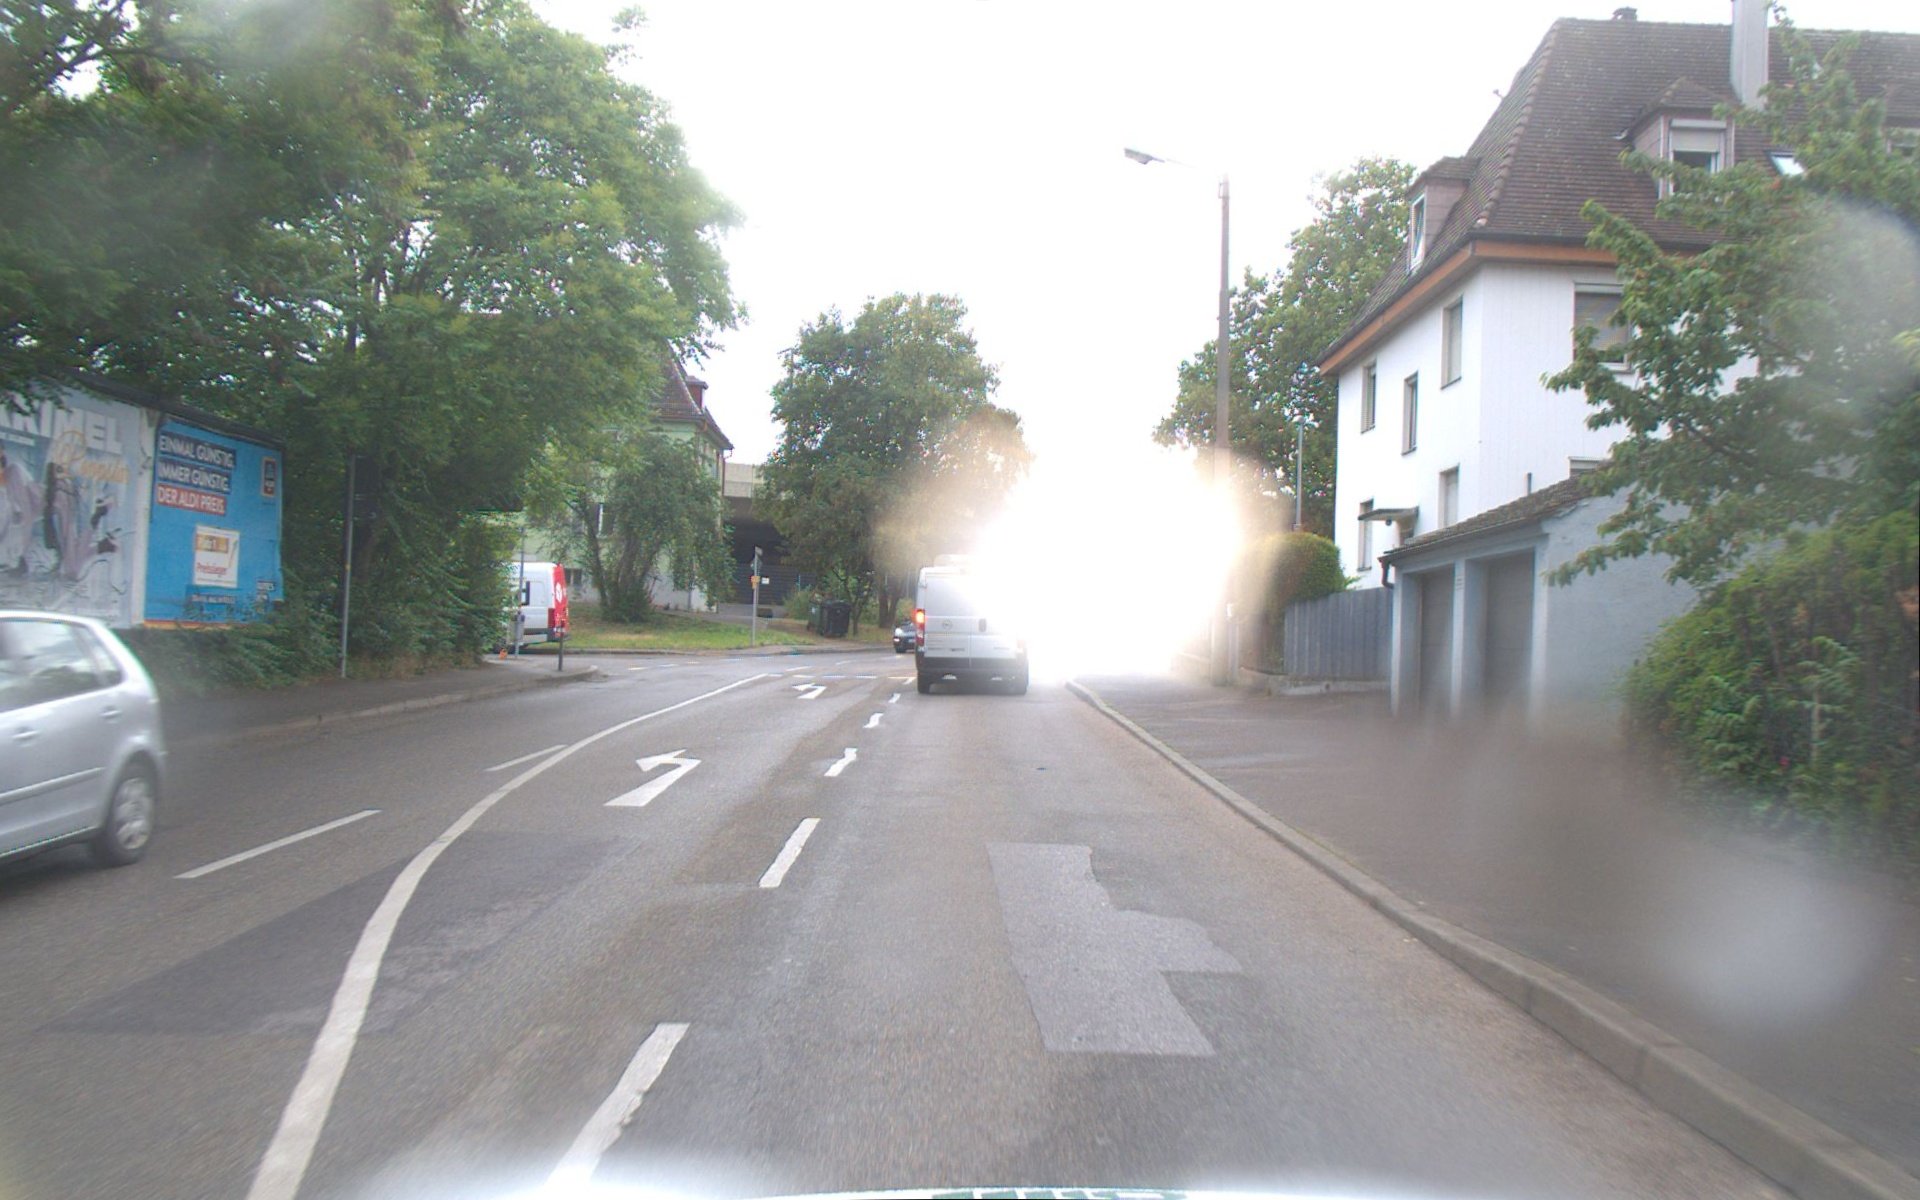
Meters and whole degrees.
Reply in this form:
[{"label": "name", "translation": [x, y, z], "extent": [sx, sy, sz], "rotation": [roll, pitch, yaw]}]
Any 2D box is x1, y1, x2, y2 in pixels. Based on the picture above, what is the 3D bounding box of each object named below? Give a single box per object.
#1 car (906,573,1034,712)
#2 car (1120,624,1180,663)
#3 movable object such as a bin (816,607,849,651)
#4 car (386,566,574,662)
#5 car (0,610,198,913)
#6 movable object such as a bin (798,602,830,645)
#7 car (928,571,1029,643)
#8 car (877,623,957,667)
[{"label": "car", "translation": [0.282, 0.768, 31.404], "extent": [2.101, 2.323, 5.064], "rotation": [2, -1, 3]}, {"label": "car", "translation": [8.119, 1.844, 70.407], "extent": [1.729, 1.537, 3.756], "rotation": [2, -1, 19]}, {"label": "movable object such as a bin", "translation": [-4.985, 1.146, 64.710], "extent": [0.921, 1.590, 1.131], "rotation": [7, 0, 4]}, {"label": "car", "translation": [-14.324, 0.422, 49.606], "extent": [4.944, 2.675, 2.152], "rotation": [2, -1, -2]}, {"label": "car", "translation": [-5.393, 0.779, 8.020], "extent": [1.620, 1.442, 3.934], "rotation": [0, 0, -1]}, {"label": "movable object such as a bin", "translation": [-5.854, 0.925, 66.242], "extent": [0.921, 1.590, 1.131], "rotation": [7, 0, 4]}, {"label": "car", "translation": [0.953, 0.372, 76.589], "extent": [2.481, 3.071, 7.212], "rotation": [2, -1, 19]}, {"label": "car", "translation": [-1.494, 1.627, 59.213], "extent": [1.951, 1.482, 4.833], "rotation": [1, -2, 10]}]
